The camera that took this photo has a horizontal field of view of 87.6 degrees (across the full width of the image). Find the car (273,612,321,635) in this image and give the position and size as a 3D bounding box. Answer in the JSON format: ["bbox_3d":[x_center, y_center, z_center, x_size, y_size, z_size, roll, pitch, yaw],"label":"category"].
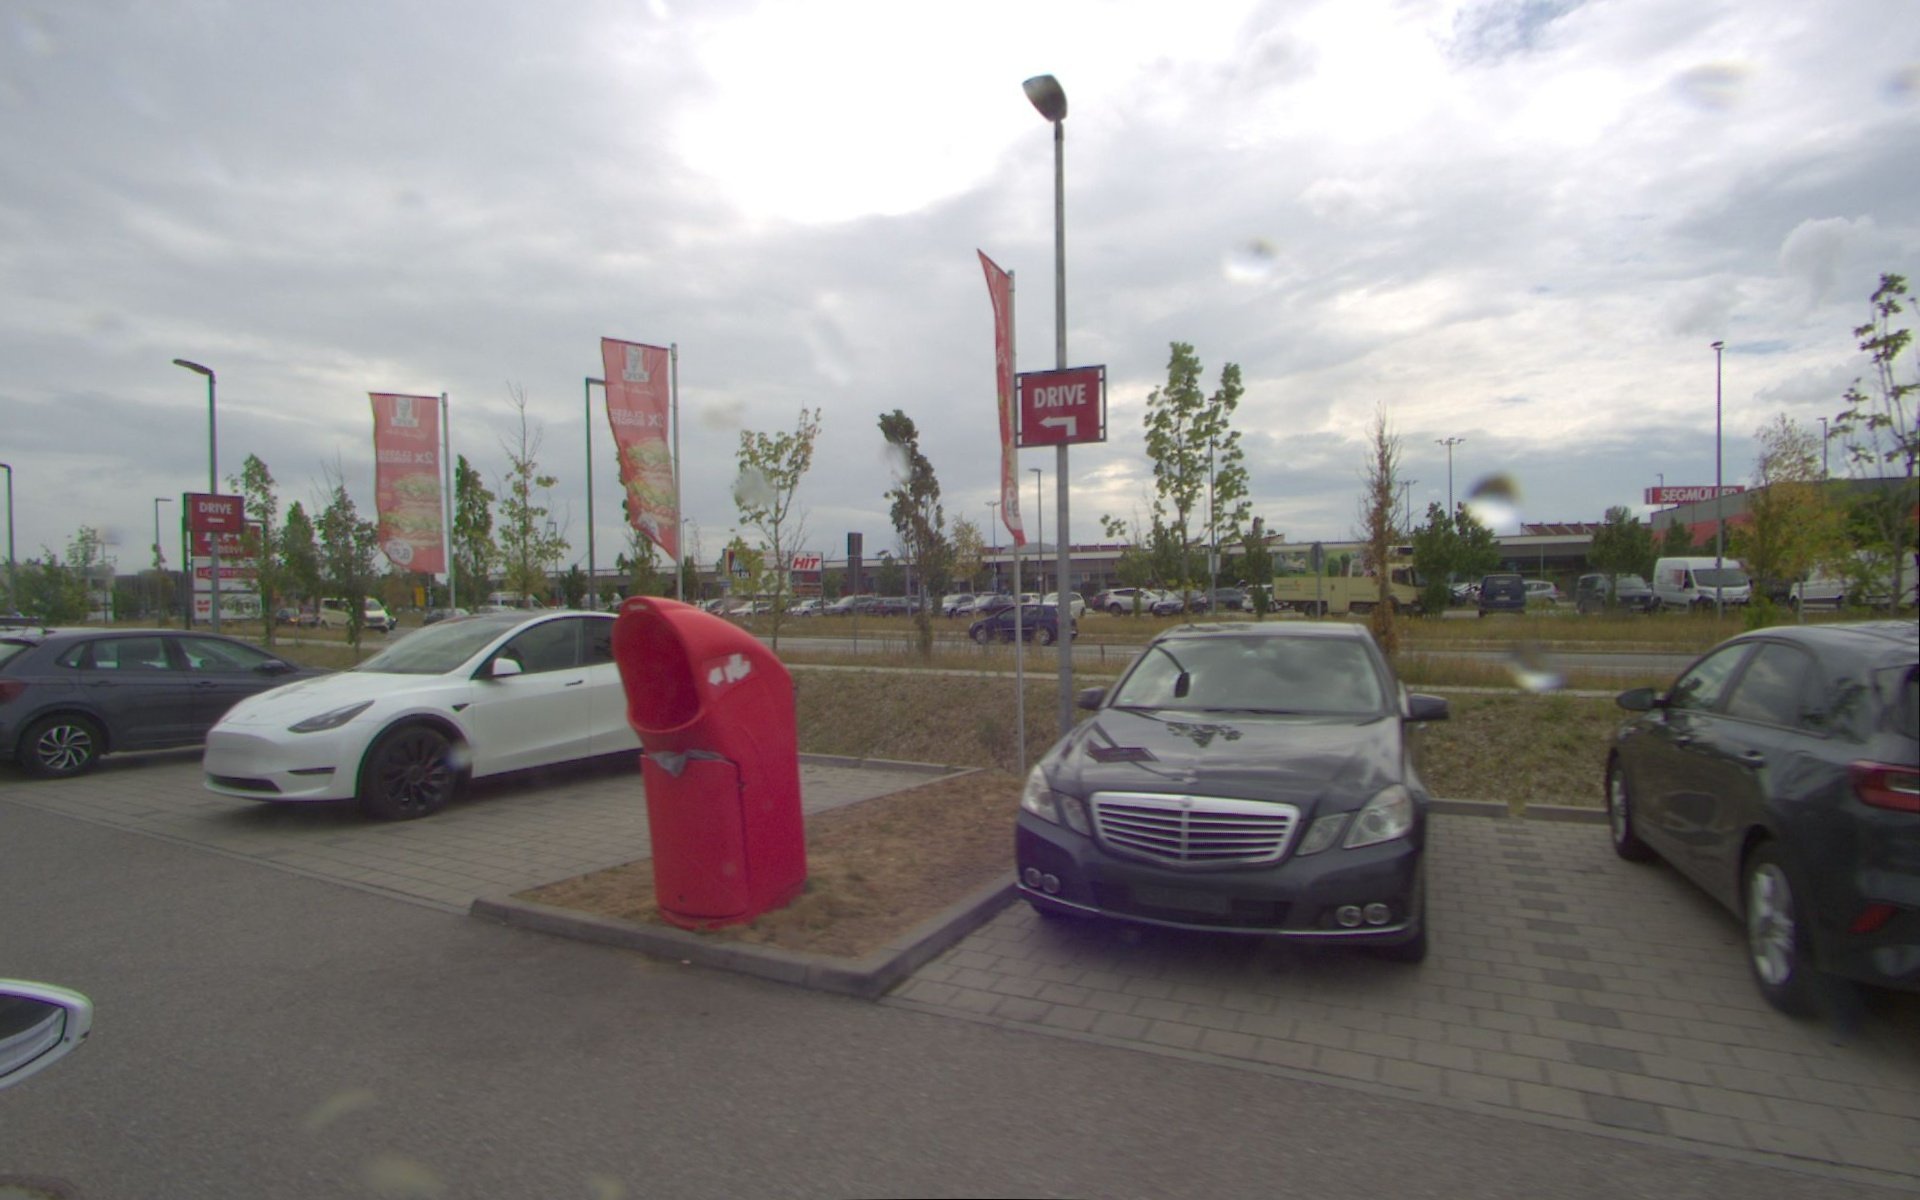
[{"bbox_3d":[-41.094,1.428,62.075,3.121,1.355,1.456,0,1,36],"label":"car"}]

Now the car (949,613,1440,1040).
[{"bbox_3d":[1.786,0.848,6.020,1.880,1.475,4.729,0,-1,25],"label":"car"}]

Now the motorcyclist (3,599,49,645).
[{"bbox_3d":[-31.371,0.723,33.648,0.819,1.509,0.936,-1,1,33],"label":"motorcyclist"}]

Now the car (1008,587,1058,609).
[{"bbox_3d":[5.508,-0.165,75.350,1.973,1.560,4.133,0,2,34],"label":"car"}]

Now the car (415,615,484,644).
[{"bbox_3d":[-28.770,1.608,56.370,4.231,1.519,1.843,0,1,38],"label":"car"}]

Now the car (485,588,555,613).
[{"bbox_3d":[-41.128,0.030,93.748,2.312,2.151,5.553,0,2,39],"label":"car"}]

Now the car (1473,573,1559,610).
[{"bbox_3d":[32.170,-0.510,58.063,3.926,2.041,1.997,-1,2,13],"label":"car"}]

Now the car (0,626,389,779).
[{"bbox_3d":[-8.824,1.016,11.306,1.714,1.430,3.787,0,-1,34],"label":"car"}]

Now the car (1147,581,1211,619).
[{"bbox_3d":[11.560,-0.020,52.707,1.904,1.796,4.295,0,2,33],"label":"car"}]

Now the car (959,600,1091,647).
[{"bbox_3d":[2.309,0.822,36.079,4.359,1.506,1.918,-1,2,33],"label":"car"}]

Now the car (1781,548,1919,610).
[{"bbox_3d":[35.954,-0.879,40.285,2.304,2.299,6.491,-1,2,18],"label":"car"}]

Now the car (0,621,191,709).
[{"bbox_3d":[-16.191,1.089,17.589,1.705,1.447,3.974,0,-1,37],"label":"car"}]

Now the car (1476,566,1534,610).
[{"bbox_3d":[24.705,-0.518,45.533,2.044,1.910,5.052,0,0,26],"label":"car"}]

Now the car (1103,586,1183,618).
[{"bbox_3d":[10.819,0.119,59.170,4.256,1.796,1.911,-1,2,30],"label":"car"}]

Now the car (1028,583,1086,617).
[{"bbox_3d":[5.611,-0.031,57.294,1.967,1.796,4.304,-1,2,25],"label":"car"}]

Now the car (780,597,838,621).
[{"bbox_3d":[-10.653,0.611,70.768,1.970,1.560,4.034,-1,2,30],"label":"car"}]

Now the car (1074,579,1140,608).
[{"bbox_3d":[10.053,-0.433,68.460,4.116,1.863,1.993,-1,2,23],"label":"car"}]

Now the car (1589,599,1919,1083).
[{"bbox_3d":[4.355,0.759,4.535,1.856,1.430,4.061,0,-1,22],"label":"car"}]

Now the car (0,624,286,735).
[{"bbox_3d":[-12.487,1.080,14.697,1.814,1.430,3.917,0,-1,34],"label":"car"}]

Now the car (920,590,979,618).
[{"bbox_3d":[-0.620,0.250,61.932,1.747,1.560,4.030,0,2,33],"label":"car"}]

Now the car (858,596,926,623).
[{"bbox_3d":[-4.342,0.610,64.445,1.978,1.561,4.122,0,2,42],"label":"car"}]

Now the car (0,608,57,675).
[{"bbox_3d":[-23.996,0.991,23.315,1.842,1.565,4.184,0,0,39],"label":"car"}]

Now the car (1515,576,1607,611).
[{"bbox_3d":[32.060,-0.337,53.558,3.930,1.762,1.886,-1,2,20],"label":"car"}]

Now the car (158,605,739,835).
[{"bbox_3d":[-4.288,0.879,9.261,1.896,1.561,4.528,0,-1,29],"label":"car"}]

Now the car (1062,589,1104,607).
[{"bbox_3d":[13.119,-0.188,106.749,4.116,1.863,1.993,-1,2,23],"label":"car"}]

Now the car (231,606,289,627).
[{"bbox_3d":[-55.434,1.338,79.300,4.779,1.573,1.794,-1,2,28],"label":"car"}]

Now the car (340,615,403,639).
[{"bbox_3d":[-36.421,1.665,61.937,4.162,1.413,1.758,0,1,35],"label":"car"}]

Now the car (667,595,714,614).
[{"bbox_3d":[-27.169,0.452,101.113,4.112,1.863,1.995,-1,2,18],"label":"car"}]

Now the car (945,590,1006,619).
[{"bbox_3d":[0.978,0.248,60.207,1.747,1.560,4.030,0,2,33],"label":"car"}]

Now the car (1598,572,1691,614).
[{"bbox_3d":[29.129,-0.329,42.807,2.041,1.661,5.056,0,2,20],"label":"car"}]

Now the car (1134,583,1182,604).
[{"bbox_3d":[18.633,-0.632,94.400,4.116,1.863,1.993,-1,2,23],"label":"car"}]

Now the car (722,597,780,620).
[{"bbox_3d":[-15.576,0.604,74.708,1.839,1.522,4.048,0,2,34],"label":"car"}]

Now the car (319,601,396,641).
[{"bbox_3d":[-34.106,1.139,56.603,5.164,2.115,1.985,0,2,38],"label":"car"}]

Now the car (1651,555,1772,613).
[{"bbox_3d":[31.489,-0.715,42.217,2.374,2.245,6.043,0,2,20],"label":"car"}]

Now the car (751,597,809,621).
[{"bbox_3d":[-13.021,0.634,72.493,1.970,1.560,4.034,-1,2,30],"label":"car"}]

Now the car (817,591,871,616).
[{"bbox_3d":[-7.913,0.233,68.412,1.746,1.560,3.744,0,2,30],"label":"car"}]

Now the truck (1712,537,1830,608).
[{"bbox_3d":[47.024,-1.591,58.366,2.610,3.794,8.236,-1,2,19],"label":"truck"}]

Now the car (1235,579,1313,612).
[{"bbox_3d":[18.100,-0.244,57.787,3.941,1.796,1.989,-1,2,31],"label":"car"}]

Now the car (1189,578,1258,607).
[{"bbox_3d":[17.498,-0.483,66.468,4.246,1.796,1.994,-1,2,21],"label":"car"}]

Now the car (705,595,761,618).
[{"bbox_3d":[-17.345,0.468,76.616,1.879,1.560,4.034,0,2,30],"label":"car"}]

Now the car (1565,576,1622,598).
[{"bbox_3d":[55.005,-1.126,87.014,3.933,1.760,1.928,-1,2,23],"label":"car"}]

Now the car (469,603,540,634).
[{"bbox_3d":[-23.639,0.946,51.967,3.953,1.479,1.815,0,2,40],"label":"car"}]

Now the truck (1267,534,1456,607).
[{"bbox_3d":[19.199,-1.375,48.471,2.986,3.240,8.382,-3,2,-31],"label":"truck"}]
